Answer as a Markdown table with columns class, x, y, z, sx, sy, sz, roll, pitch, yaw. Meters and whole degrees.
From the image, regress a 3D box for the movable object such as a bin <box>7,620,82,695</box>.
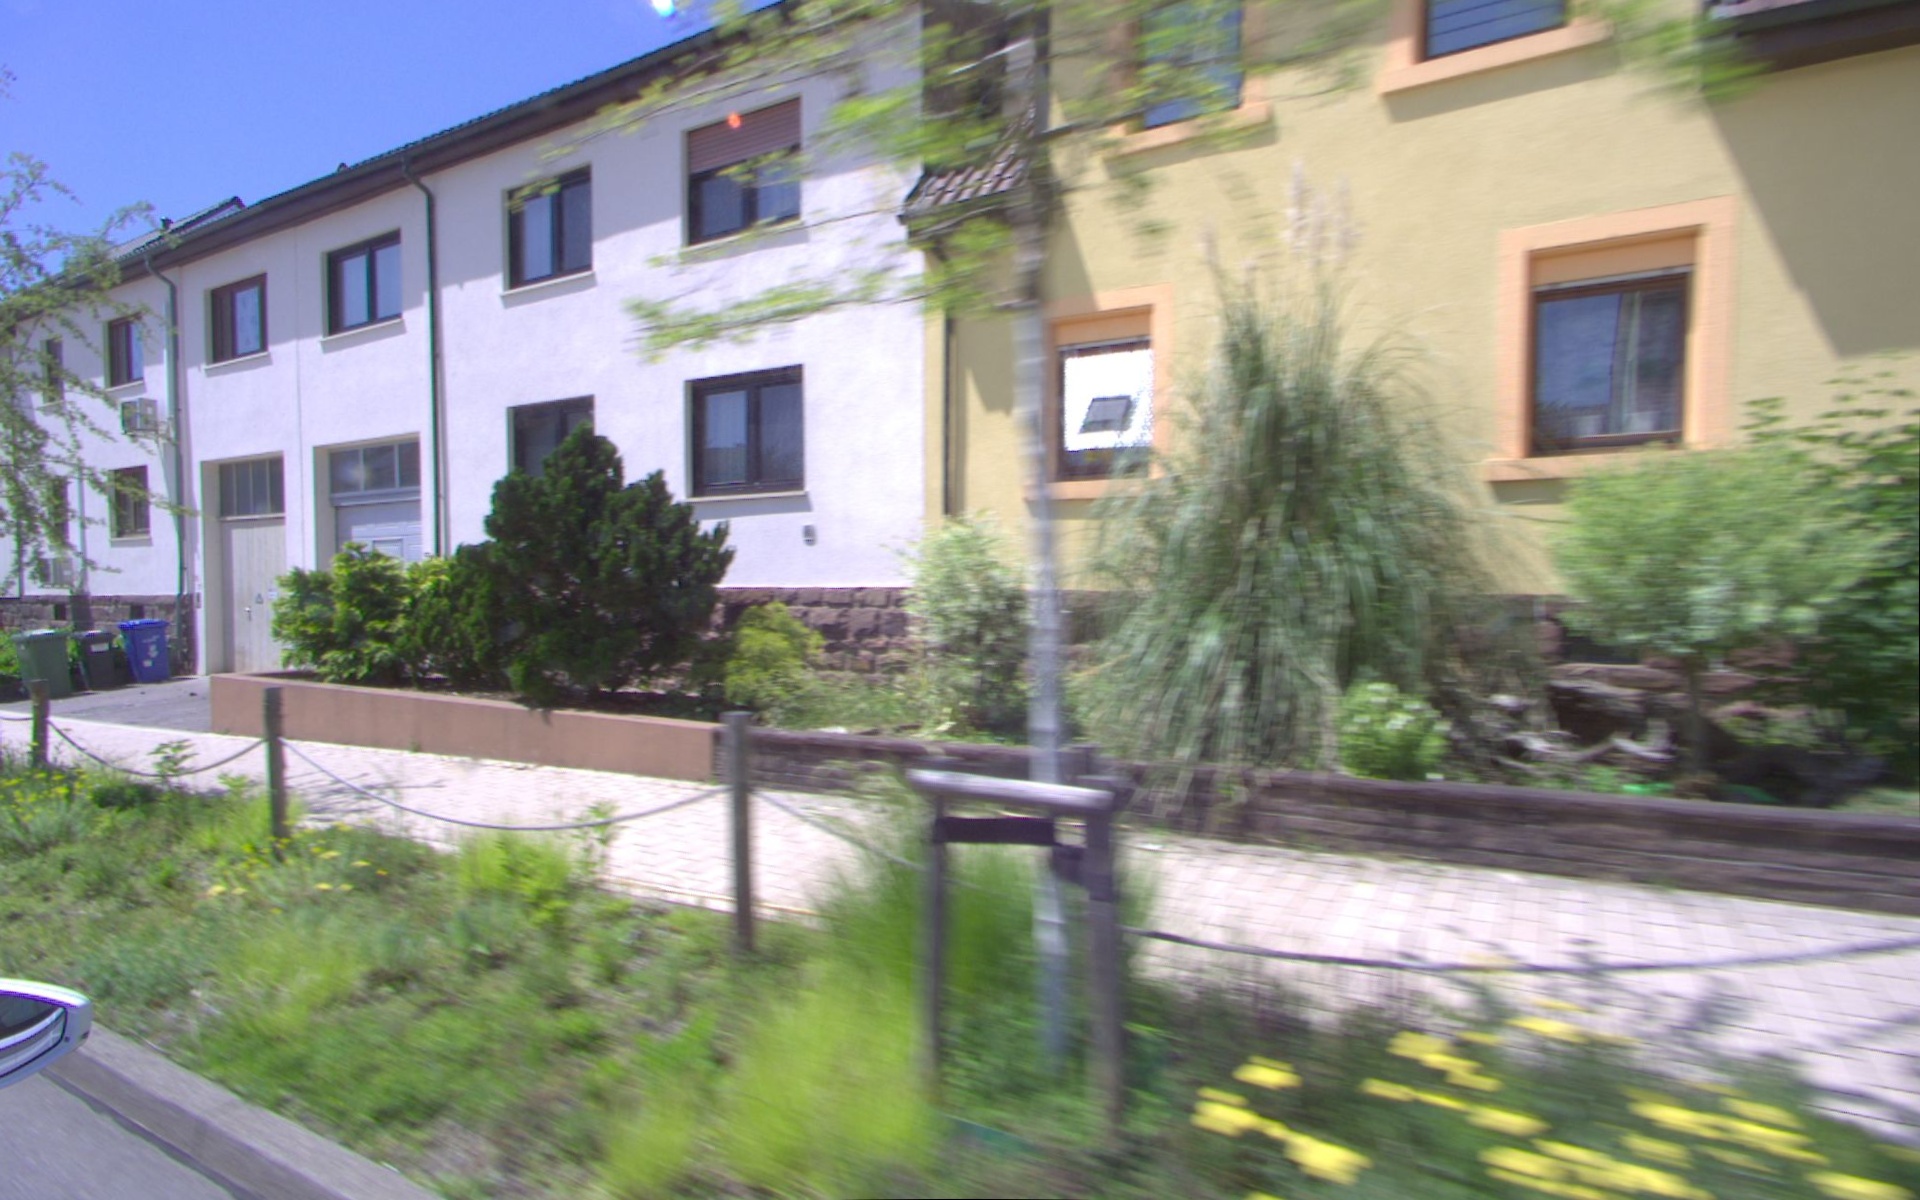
| class | x | y | z | sx | sy | sz | roll | pitch | yaw |
| --- | --- | --- | --- | --- | --- | --- | --- | --- | --- |
| movable object such as a bin | -14.767 | 0.909 | 16.157 | 0.802 | 1.130 | 0.681 | -1 | 4 | 37 |

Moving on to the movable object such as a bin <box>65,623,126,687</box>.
| class | x | y | z | sx | sy | sz | roll | pitch | yaw |
| --- | --- | --- | --- | --- | --- | --- | --- | --- | --- |
| movable object such as a bin | -14.513 | 0.913 | 16.815 | 0.793 | 1.000 | 0.555 | -1 | 5 | 38 |

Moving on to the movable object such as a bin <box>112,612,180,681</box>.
| class | x | y | z | sx | sy | sz | roll | pitch | yaw |
| --- | --- | --- | --- | --- | --- | --- | --- | --- | --- |
| movable object such as a bin | -14.114 | 0.792 | 17.361 | 0.852 | 1.122 | 0.682 | 0 | 4 | 38 |

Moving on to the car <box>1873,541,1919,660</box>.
| class | x | y | z | sx | sy | sz | roll | pitch | yaw |
| --- | --- | --- | --- | --- | --- | --- | --- | --- | --- |
| car | 12.644 | -0.006 | 11.873 | 1.891 | 1.459 | 4.141 | -1 | 0 | 31 |
